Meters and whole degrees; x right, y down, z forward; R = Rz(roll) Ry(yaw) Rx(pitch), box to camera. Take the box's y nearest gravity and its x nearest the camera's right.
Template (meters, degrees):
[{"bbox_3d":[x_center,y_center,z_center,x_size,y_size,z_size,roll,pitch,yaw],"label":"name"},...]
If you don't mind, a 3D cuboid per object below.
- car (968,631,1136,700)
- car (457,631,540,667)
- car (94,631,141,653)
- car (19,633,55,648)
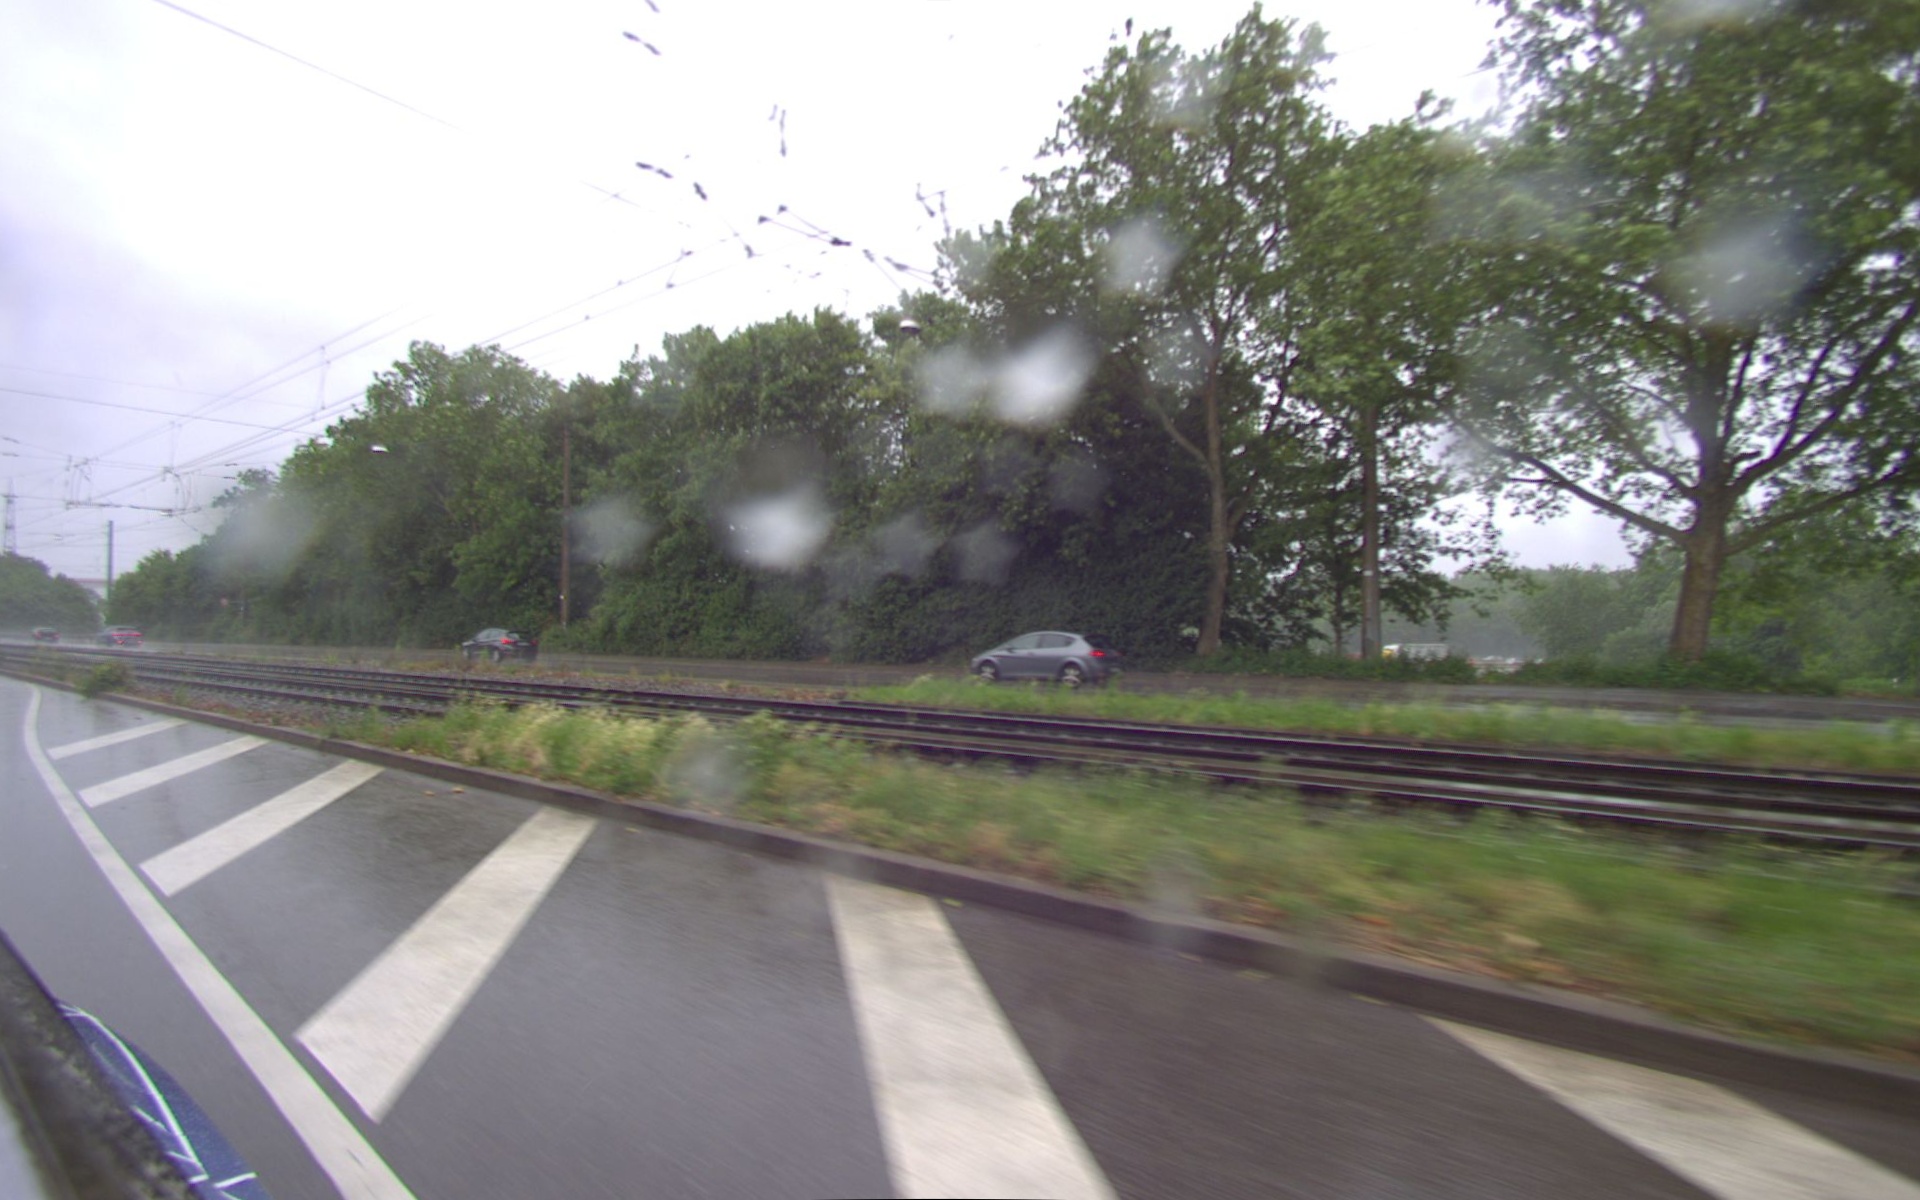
[{"bbox_3d":[2.287,1.609,25.783,4.042,1.580,1.635,-1,-1,39],"label":"car"},{"bbox_3d":[-19.773,2.054,43.297,3.935,1.417,1.666,-1,-1,39],"label":"car"},{"bbox_3d":[-61.126,3.049,73.396,4.949,1.535,1.674,-2,-2,38],"label":"car"},{"bbox_3d":[-84.219,3.672,92.359,4.374,1.340,1.754,-2,-2,39],"label":"car"}]
